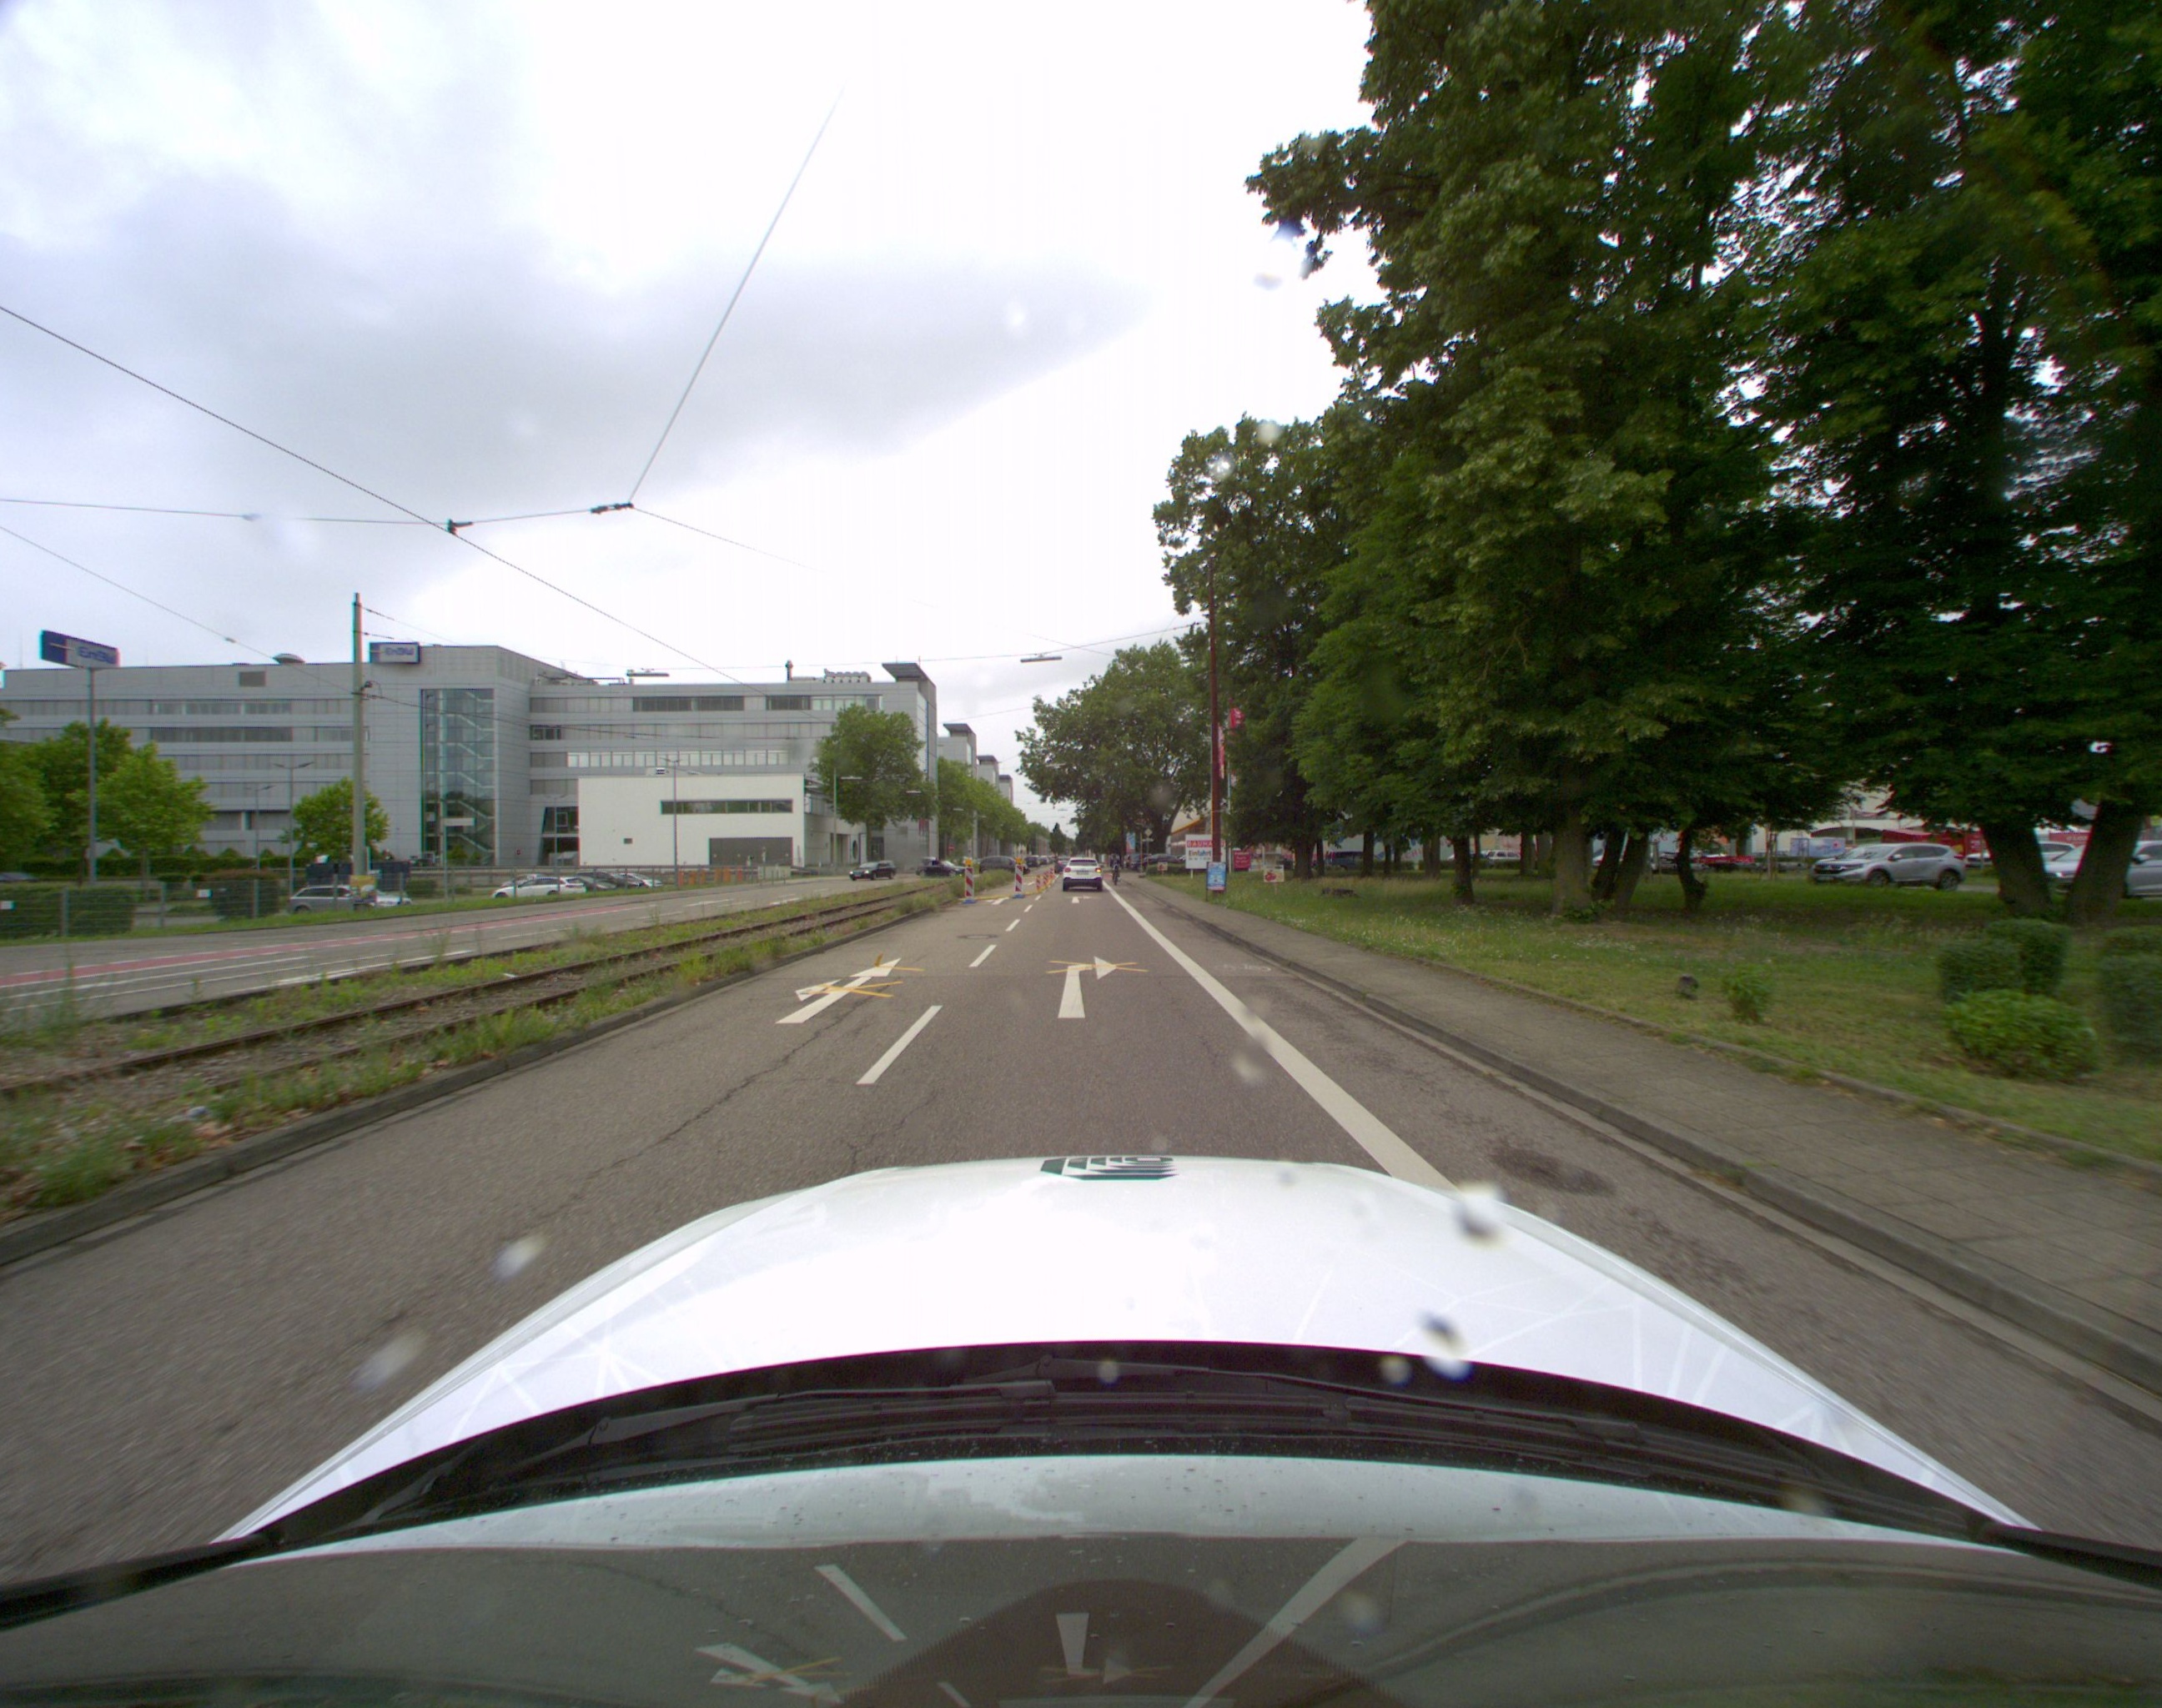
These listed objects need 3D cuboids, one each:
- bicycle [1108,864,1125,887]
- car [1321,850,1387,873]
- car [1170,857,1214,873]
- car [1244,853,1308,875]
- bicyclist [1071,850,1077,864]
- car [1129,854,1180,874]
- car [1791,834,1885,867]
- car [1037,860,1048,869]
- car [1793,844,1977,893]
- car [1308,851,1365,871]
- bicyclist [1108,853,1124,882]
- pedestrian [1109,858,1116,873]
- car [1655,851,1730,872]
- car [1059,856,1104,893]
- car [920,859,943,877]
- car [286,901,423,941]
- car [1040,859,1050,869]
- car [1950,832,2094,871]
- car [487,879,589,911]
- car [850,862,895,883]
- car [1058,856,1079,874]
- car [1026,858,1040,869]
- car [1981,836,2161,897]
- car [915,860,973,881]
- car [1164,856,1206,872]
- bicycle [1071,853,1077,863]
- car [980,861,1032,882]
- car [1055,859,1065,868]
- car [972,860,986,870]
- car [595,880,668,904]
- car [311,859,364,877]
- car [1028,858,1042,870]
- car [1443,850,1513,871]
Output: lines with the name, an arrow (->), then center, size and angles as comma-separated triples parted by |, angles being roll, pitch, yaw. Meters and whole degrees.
bicycle -> 1.982, 1.190, 45.861 | 0.814, 1.212, 2.682 | -1, -1, 0
car -> 21.627, 0.590, 64.541 | 4.539, 1.790, 2.073 | -1, 0, -1
car -> 11.372, 1.144, 83.587 | 4.203, 1.552, 1.788 | -1, -1, -4
car -> 15.220, 0.784, 63.804 | 4.539, 1.572, 1.992 | -1, -1, -1
bicyclist -> -0.977, 0.400, 112.161 | 0.669, 1.815, 0.759 | 1, 0, -4
car -> 6.402, 0.886, 71.169 | 4.300, 1.677, 1.992 | -1, -1, -1
car -> 60.929, -0.254, 65.615 | 5.725, 2.537, 2.072 | -1, -1, -1
car -> -7.164, 1.954, 152.724 | 1.872, 1.763, 3.997 | -1, 0, -2
car -> 26.918, 0.497, 27.348 | 4.523, 1.497, 1.956 | 1, -1, -5
car -> 23.029, 0.613, 73.650 | 4.534, 1.677, 2.083 | -1, -1, 2
bicyclist -> 1.971, 0.758, 45.861 | 0.814, 1.630, 1.234 | -1, -1, -1
pedestrian -> 3.682, 1.315, 95.225 | 0.759, 1.705, 0.680 | -1, -1, -6
car -> 48.906, 0.624, 65.199 | 4.539, 1.572, 2.072 | -1, -1, -1
car -> -0.034, 0.885, 37.181 | 1.819, 1.600, 3.771 | 1, 0, -3
car -> -15.899, 1.449, 86.745 | 1.816, 1.783, 4.420 | -1, -1, -4
car -> -31.320, 2.867, 35.198 | 4.196, 1.532, 1.913 | -1, -1, 1
car -> -7.020, 1.940, 157.940 | 1.872, 1.763, 3.997 | -1, 0, -2
car -> 43.746, -0.104, 37.917 | 4.547, 1.677, 2.151 | -1, -1, -6
car -> -31.320, 2.347, 47.055 | 4.517, 1.634, 1.910 | -1, -1, -4
car -> -15.310, 1.324, 60.062 | 1.811, 1.472, 4.432 | -1, 0, 5
car -> -1.126, 0.930, 71.684 | 1.680, 1.513, 3.701 | 1, 0, -3
car -> -7.039, 1.352, 118.520 | 1.872, 1.632, 3.997 | -1, 0, -2
car -> 27.255, 0.350, 21.554 | 4.663, 1.497, 2.169 | 1, -1, -2
car -> -10.609, 1.319, 63.108 | 4.081, 1.475, 1.835 | -3, -2, 21
car -> 10.931, 1.064, 85.725 | 4.203, 1.552, 1.788 | -1, -1, -4
bicycle -> -0.964, 0.592, 111.997 | 0.669, 1.394, 2.164 | 1, 0, -3
car -> -5.863, 1.375, 63.889 | 3.872, 1.556, 1.824 | 1, -1, -1
car -> -3.887, 1.783, 152.343 | 1.791, 1.513, 3.701 | 1, 0, -3
car -> -17.779, 1.892, 142.166 | 1.872, 1.632, 4.202 | -1, 0, -2
car -> -31.335, 2.622, 56.903 | 3.978, 1.485, 1.910 | -1, -1, -4
car -> -87.532, 1.664, 95.948 | 1.987, 2.013, 4.650 | -1, 0, 0
car -> -7.012, 1.547, 124.334 | 1.872, 1.763, 3.997 | -1, 0, -2
car -> 31.459, 0.501, 64.590 | 4.539, 1.572, 2.072 | -1, -1, -1
